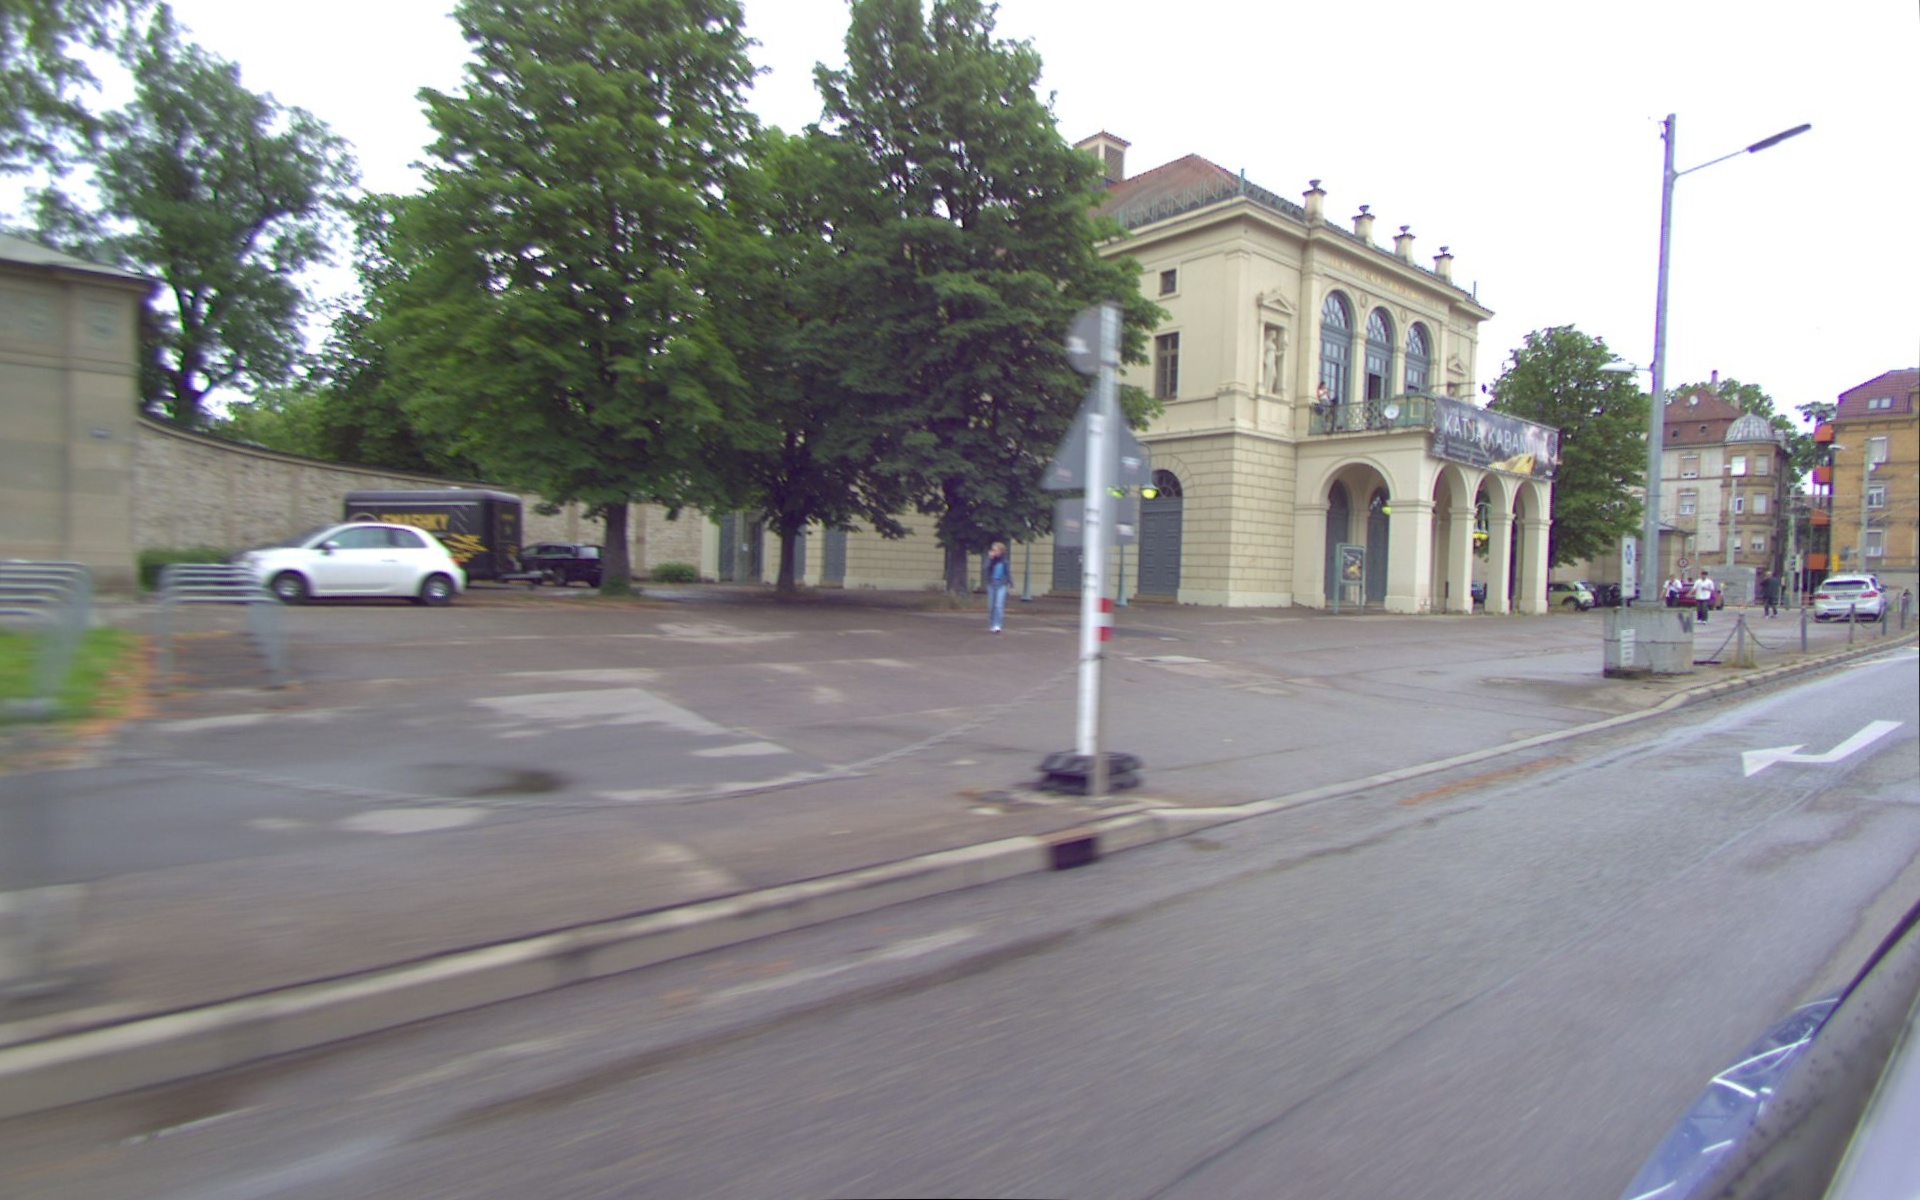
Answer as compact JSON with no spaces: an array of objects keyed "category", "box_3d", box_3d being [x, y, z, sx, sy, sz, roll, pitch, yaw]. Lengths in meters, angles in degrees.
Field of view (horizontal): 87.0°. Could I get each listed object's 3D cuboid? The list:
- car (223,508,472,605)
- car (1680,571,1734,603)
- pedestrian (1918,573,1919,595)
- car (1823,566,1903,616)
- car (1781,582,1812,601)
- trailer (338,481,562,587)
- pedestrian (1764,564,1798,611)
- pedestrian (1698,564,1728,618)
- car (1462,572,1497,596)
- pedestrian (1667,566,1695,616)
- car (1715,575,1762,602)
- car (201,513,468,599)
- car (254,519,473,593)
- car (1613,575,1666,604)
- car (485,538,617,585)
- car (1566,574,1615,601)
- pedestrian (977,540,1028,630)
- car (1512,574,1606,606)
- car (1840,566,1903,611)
[{"category":"car","box_3d":[-10.880,-0.733,18.065,3.533,1.473,1.841,2,1,-40]},{"category":"car","box_3d":[40.399,-0.739,54.682,1.826,1.602,3.937,3,3,44]},{"category":"pedestrian","box_3d":[73.516,-1.196,77.264,0.526,1.674,0.511,-1,2,-42]},{"category":"car","box_3d":[32.286,-0.342,36.139,4.075,1.660,1.839,-1,0,-44]},{"category":"car","box_3d":[75.695,-0.778,91.562,1.826,1.602,3.937,3,3,44]},{"category":"trailer","box_3d":[-14.961,-1.923,29.907,5.549,2.820,2.148,2,2,1]},{"category":"pedestrian","box_3d":[32.269,-0.482,39.788,0.766,1.829,0.698,-1,1,-1]},{"category":"pedestrian","box_3d":[24.869,-0.301,33.413,0.825,1.757,0.595,-1,2,-42]},{"category":"car","box_3d":[33.002,-1.045,64.284,1.709,1.460,3.957,2,3,31]},{"category":"pedestrian","box_3d":[24.660,-0.308,34.616,0.627,1.664,0.768,2,2,43]},{"category":"car","box_3d":[47.874,-0.729,62.236,1.826,1.602,3.937,3,3,44]},{"category":"car","box_3d":[-12.288,-0.836,20.102,1.891,1.508,4.130,3,2,38]},{"category":"car","box_3d":[-13.837,-1.012,23.660,4.020,1.546,1.779,2,2,-5]},{"category":"car","box_3d":[38.517,-0.643,57.322,1.859,1.567,4.003,1,2,43]},{"category":"car","box_3d":[-13.824,-1.298,34.166,4.234,1.425,1.727,3,2,25]},{"category":"car","box_3d":[37.283,-0.763,59.807,1.678,1.515,3.938,3,3,44]},{"category":"pedestrian","box_3d":[0.775,-0.287,18.607,0.654,1.610,0.868,1,3,-14]},{"category":"car","box_3d":[30.718,-0.555,51.979,1.697,1.487,3.745,-1,3,-37]},{"category":"car","box_3d":[36.207,-0.486,40.279,1.714,1.660,4.082,-2,0,41]}]
